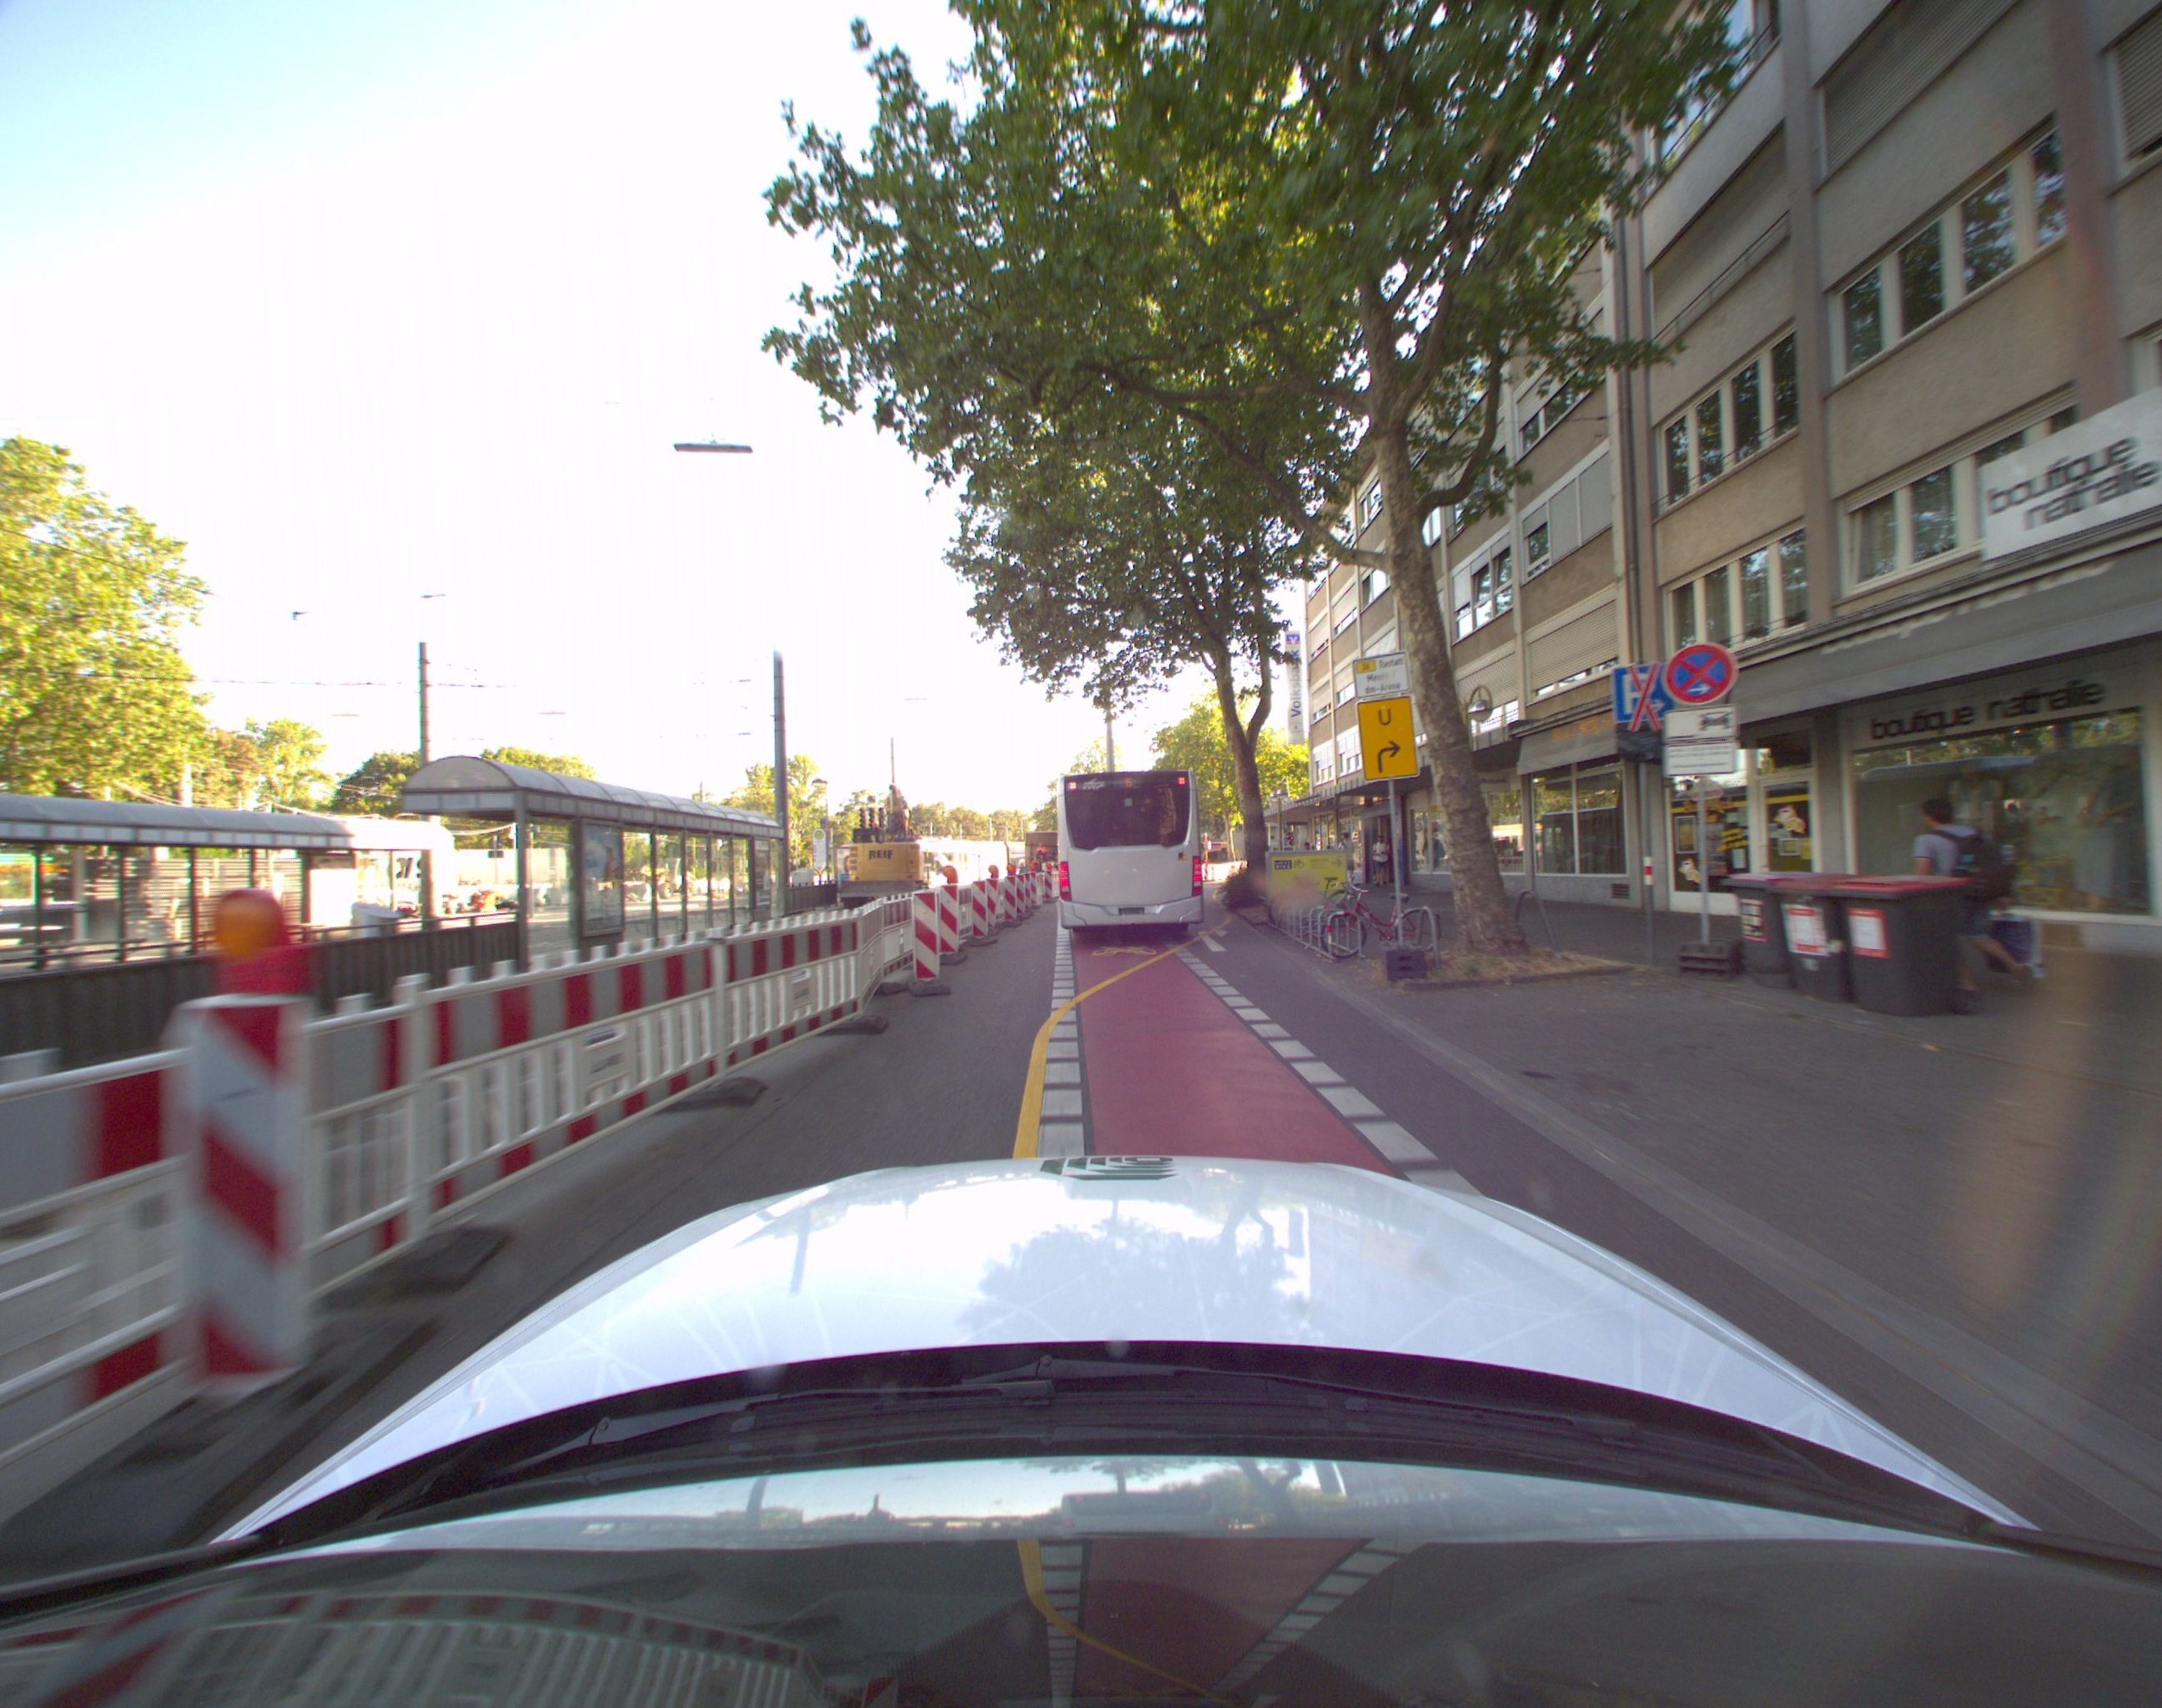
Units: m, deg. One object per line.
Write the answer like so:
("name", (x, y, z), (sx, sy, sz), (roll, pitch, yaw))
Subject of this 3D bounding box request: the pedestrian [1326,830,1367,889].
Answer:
("pedestrian", (9.056, 0.185, 27.821), (0.835, 1.869, 1.099), (-6, -1, 0))

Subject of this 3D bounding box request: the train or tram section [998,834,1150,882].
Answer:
("train or tram section", (-0.340, 0.252, 65.864), (12.834, 3.549, 2.709), (-1, -2, -34))

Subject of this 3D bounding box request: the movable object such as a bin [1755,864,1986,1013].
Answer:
("movable object such as a bin", (6.523, 0.653, 6.819), (0.671, 1.075, 1.228), (-5, -1, 1))

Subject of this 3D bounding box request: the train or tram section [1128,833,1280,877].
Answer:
("train or tram section", (10.823, 0.081, 71.310), (13.327, 3.519, 2.632), (-1, -1, -19))

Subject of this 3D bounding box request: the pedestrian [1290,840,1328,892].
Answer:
("pedestrian", (7.882, 0.404, 28.197), (0.896, 1.710, 1.070), (-5, -1, 0))

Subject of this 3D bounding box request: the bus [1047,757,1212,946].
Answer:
("bus", (0.812, -0.020, 19.181), (2.725, 3.139, 10.700), (-1, 0, 0))

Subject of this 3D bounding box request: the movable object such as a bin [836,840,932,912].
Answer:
("movable object such as a bin", (-6.990, 0.743, 29.544), (2.639, 2.318, 4.893), (-2, 0, -5))

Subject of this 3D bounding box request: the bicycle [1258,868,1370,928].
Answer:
("bicycle", (4.698, 0.881, 16.513), (1.982, 1.058, 0.770), (-3, -1, -3))

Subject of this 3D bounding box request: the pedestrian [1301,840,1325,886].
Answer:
("pedestrian", (8.871, 0.330, 31.178), (0.581, 1.708, 0.679), (-5, -1, 0))

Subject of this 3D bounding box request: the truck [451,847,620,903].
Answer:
("truck", (-41.648, 1.579, 62.550), (10.403, 3.790, 2.889), (-2, -1, -11))

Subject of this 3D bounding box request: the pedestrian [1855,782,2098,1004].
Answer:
("pedestrian", (7.436, 0.304, 6.830), (0.840, 1.673, 0.990), (-4, -1, 0))

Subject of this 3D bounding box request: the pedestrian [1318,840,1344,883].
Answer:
("pedestrian", (9.554, 0.295, 31.153), (0.631, 1.573, 0.774), (-5, 0, 0))

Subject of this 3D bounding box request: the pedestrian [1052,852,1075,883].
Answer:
("pedestrian", (-1.027, 0.789, 47.444), (0.965, 1.798, 1.074), (-2, -1, 17))

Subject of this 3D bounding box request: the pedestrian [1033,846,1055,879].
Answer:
("pedestrian", (-2.312, 0.531, 50.706), (0.928, 2.013, 1.007), (-2, 1, 25))

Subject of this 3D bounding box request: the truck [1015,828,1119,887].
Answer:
("truck", (-0.734, 0.209, 53.834), (2.785, 3.541, 9.037), (-2, -1, 28))

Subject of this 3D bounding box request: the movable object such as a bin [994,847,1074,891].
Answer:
("movable object such as a bin", (-2.496, 0.783, 44.576), (1.975, 2.256, 5.239), (-1, 0, 27))

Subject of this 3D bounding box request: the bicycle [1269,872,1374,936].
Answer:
("bicycle", (4.444, 0.915, 15.111), (1.707, 1.058, 0.644), (-3, -1, 2))

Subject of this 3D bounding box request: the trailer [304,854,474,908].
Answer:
("trailer", (-51.224, 1.967, 60.594), (9.224, 3.798, 2.883), (0, -2, -12))

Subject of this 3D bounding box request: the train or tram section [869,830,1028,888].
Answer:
("train or tram section", (-8.770, 0.363, 56.825), (2.822, 3.533, 13.480), (-3, -1, 31))

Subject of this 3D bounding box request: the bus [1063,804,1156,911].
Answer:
("bus", (0.866, 0.146, 29.013), (2.700, 3.107, 8.977), (-2, -1, 0))

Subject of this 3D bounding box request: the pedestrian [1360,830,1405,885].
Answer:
("pedestrian", (10.027, 0.126, 27.132), (0.896, 1.697, 1.071), (-7, -1, 1))

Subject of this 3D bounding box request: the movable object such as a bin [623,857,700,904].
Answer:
("movable object such as a bin", (-25.552, 1.571, 49.824), (2.142, 2.639, 4.601), (-2, -1, 2))

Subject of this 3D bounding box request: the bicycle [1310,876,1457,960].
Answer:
("bicycle", (4.258, 0.889, 11.530), (1.784, 1.022, 0.643), (-3, -1, -3))
